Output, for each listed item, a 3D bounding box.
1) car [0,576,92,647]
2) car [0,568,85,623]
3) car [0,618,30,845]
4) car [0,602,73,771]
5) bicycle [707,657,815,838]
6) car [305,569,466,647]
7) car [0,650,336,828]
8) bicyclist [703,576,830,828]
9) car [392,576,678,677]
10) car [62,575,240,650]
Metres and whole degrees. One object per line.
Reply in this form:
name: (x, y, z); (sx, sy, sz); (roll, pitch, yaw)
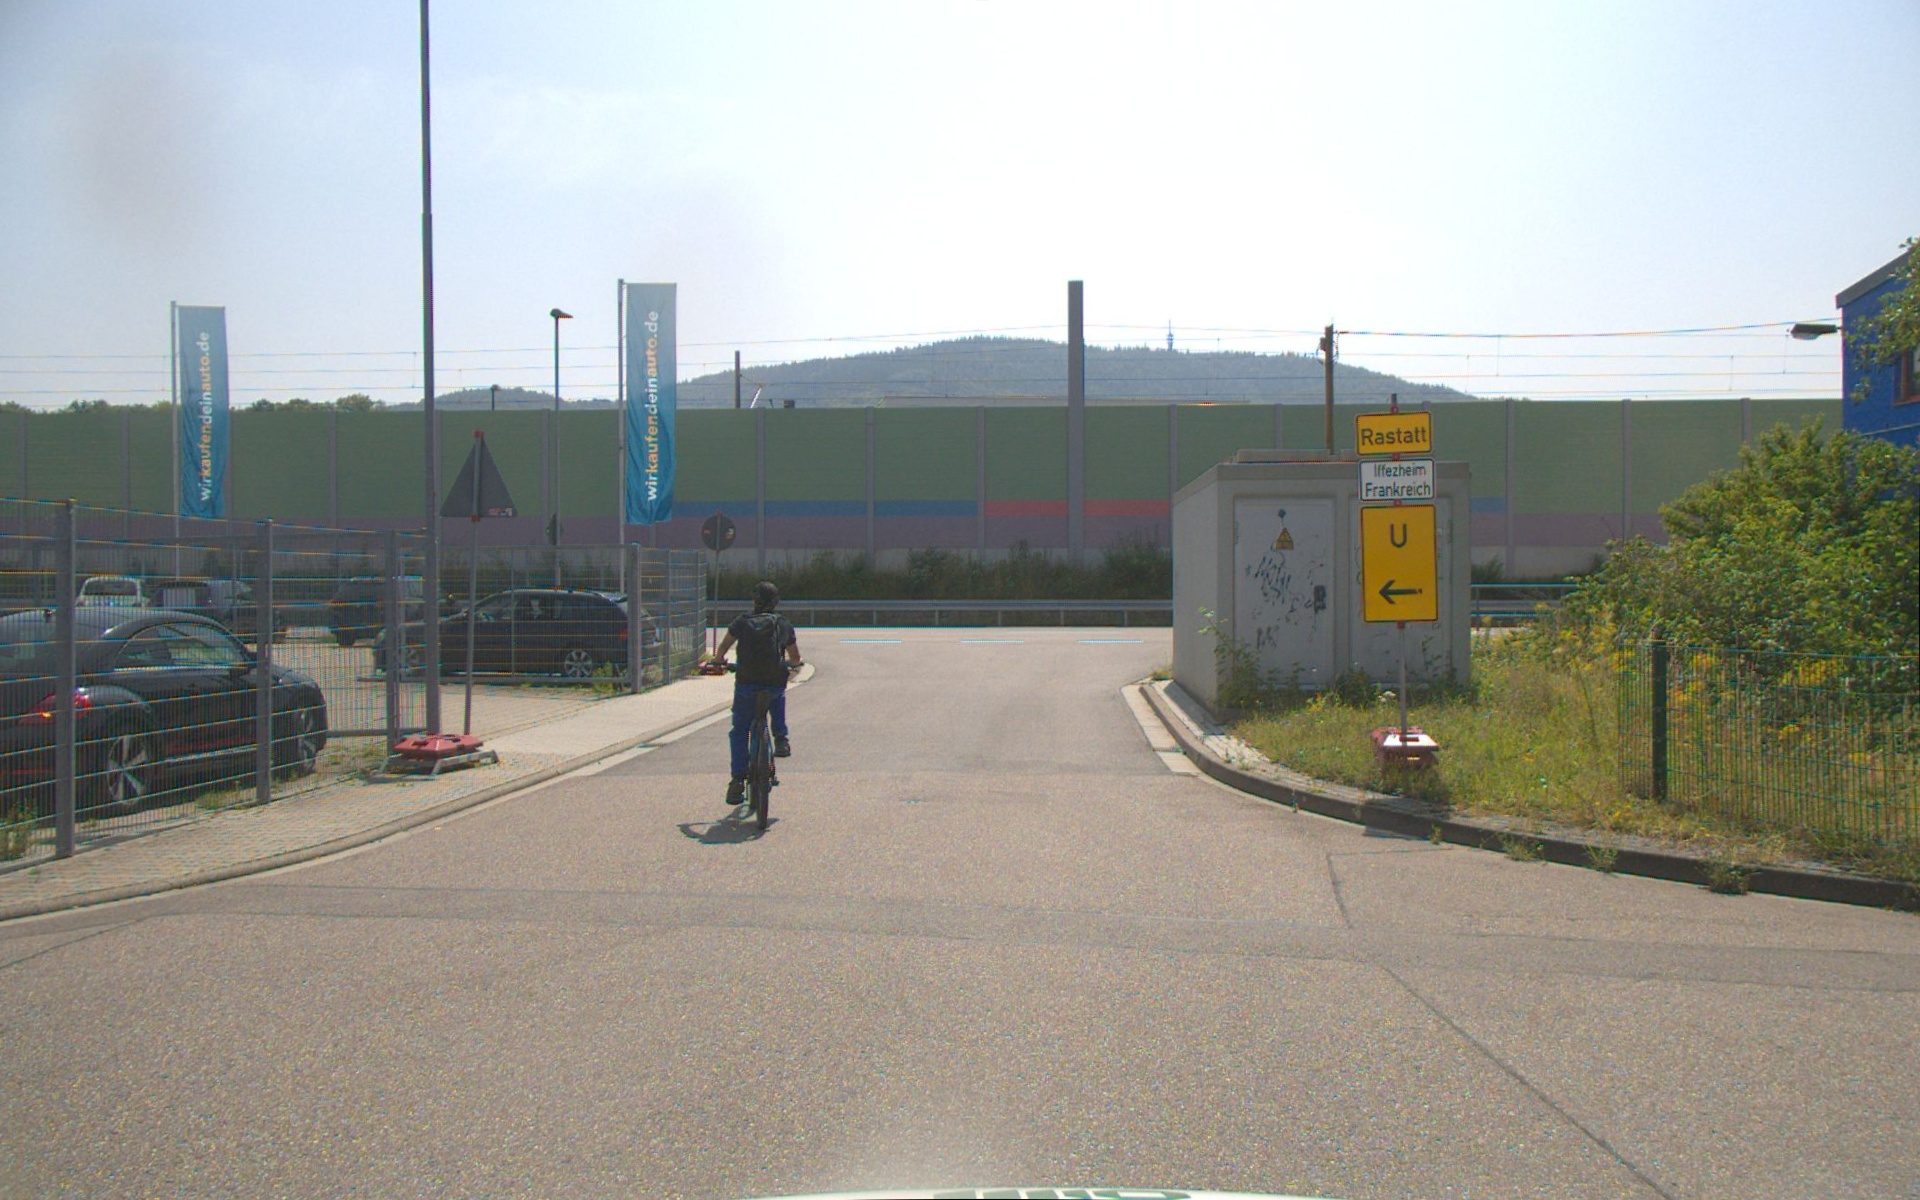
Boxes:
car: (-22.493, 0.253, 38.833); (1.952, 1.609, 4.002); (-1, 1, 3)
car: (-29.885, -0.157, 52.632); (1.662, 1.686, 4.003); (0, 1, 6)
car: (-7.064, 0.853, 8.645); (1.830, 1.411, 4.116); (0, 1, 5)
car: (-9.255, 0.784, 13.704); (1.452, 1.480, 3.897); (0, 1, 5)
bicycle: (-1.357, 0.969, 11.458); (0.672, 1.070, 1.898); (-1, 0, -6)
car: (-12.546, 0.147, 36.387); (1.952, 1.609, 4.002); (-1, 1, 3)
car: (-6.642, 1.004, 13.210); (1.452, 1.024, 4.116); (0, 1, 5)
bicyclist: (-1.322, 0.674, 11.402); (0.826, 1.647, 1.038); (0, -1, -6)
car: (-6.671, 0.397, 26.189); (3.902, 1.519, 2.002); (0, 1, 8)
car: (-18.519, 0.245, 38.097); (1.952, 1.609, 4.002); (-1, 1, 3)
